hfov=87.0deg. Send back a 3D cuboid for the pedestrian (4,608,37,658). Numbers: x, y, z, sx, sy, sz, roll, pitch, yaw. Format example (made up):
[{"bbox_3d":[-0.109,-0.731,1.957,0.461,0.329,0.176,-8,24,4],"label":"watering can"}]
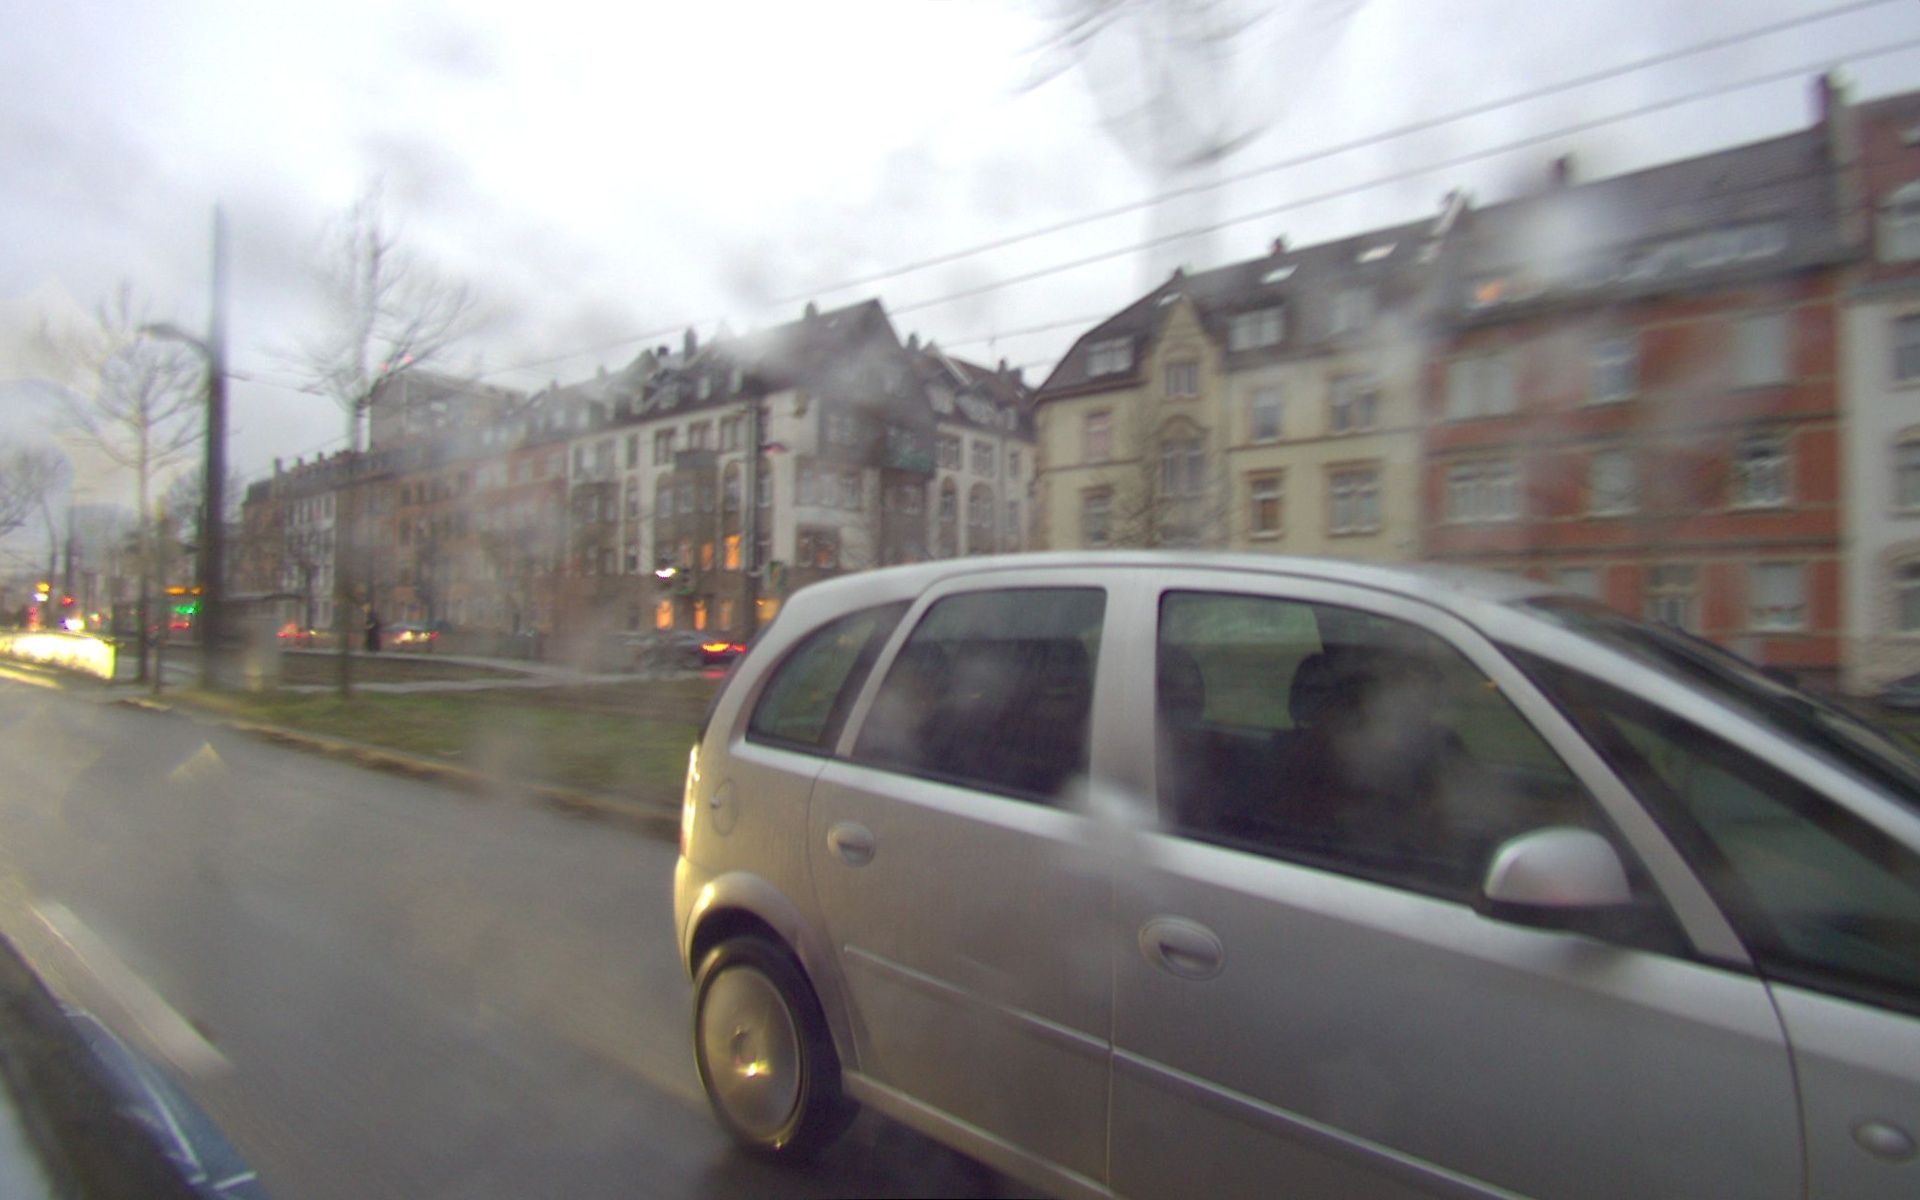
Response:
[{"bbox_3d":[-39.532,1.391,42.597,0.864,2.029,0.932,4,-4,-39],"label":"pedestrian"}]

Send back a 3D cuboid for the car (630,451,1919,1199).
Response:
[{"bbox_3d":[1.137,0.655,2.313,4.051,1.612,1.790,-1,-1,41],"label":"car"}]

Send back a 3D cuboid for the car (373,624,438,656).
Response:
[{"bbox_3d":[-30.813,2.216,56.215,3.997,1.650,1.845,-1,0,40],"label":"car"}]

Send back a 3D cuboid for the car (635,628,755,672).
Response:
[{"bbox_3d":[-9.629,1.784,36.643,4.696,1.464,1.845,-1,-3,40],"label":"car"}]

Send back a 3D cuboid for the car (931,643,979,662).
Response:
[{"bbox_3d":[-0.273,3.149,60.326,1.330,1.083,2.861,-1,-3,40],"label":"car"}]

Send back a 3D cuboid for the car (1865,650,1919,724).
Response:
[{"bbox_3d":[19.313,1.613,18.652,3.933,1.342,2.005,1,-2,-14],"label":"car"}]
